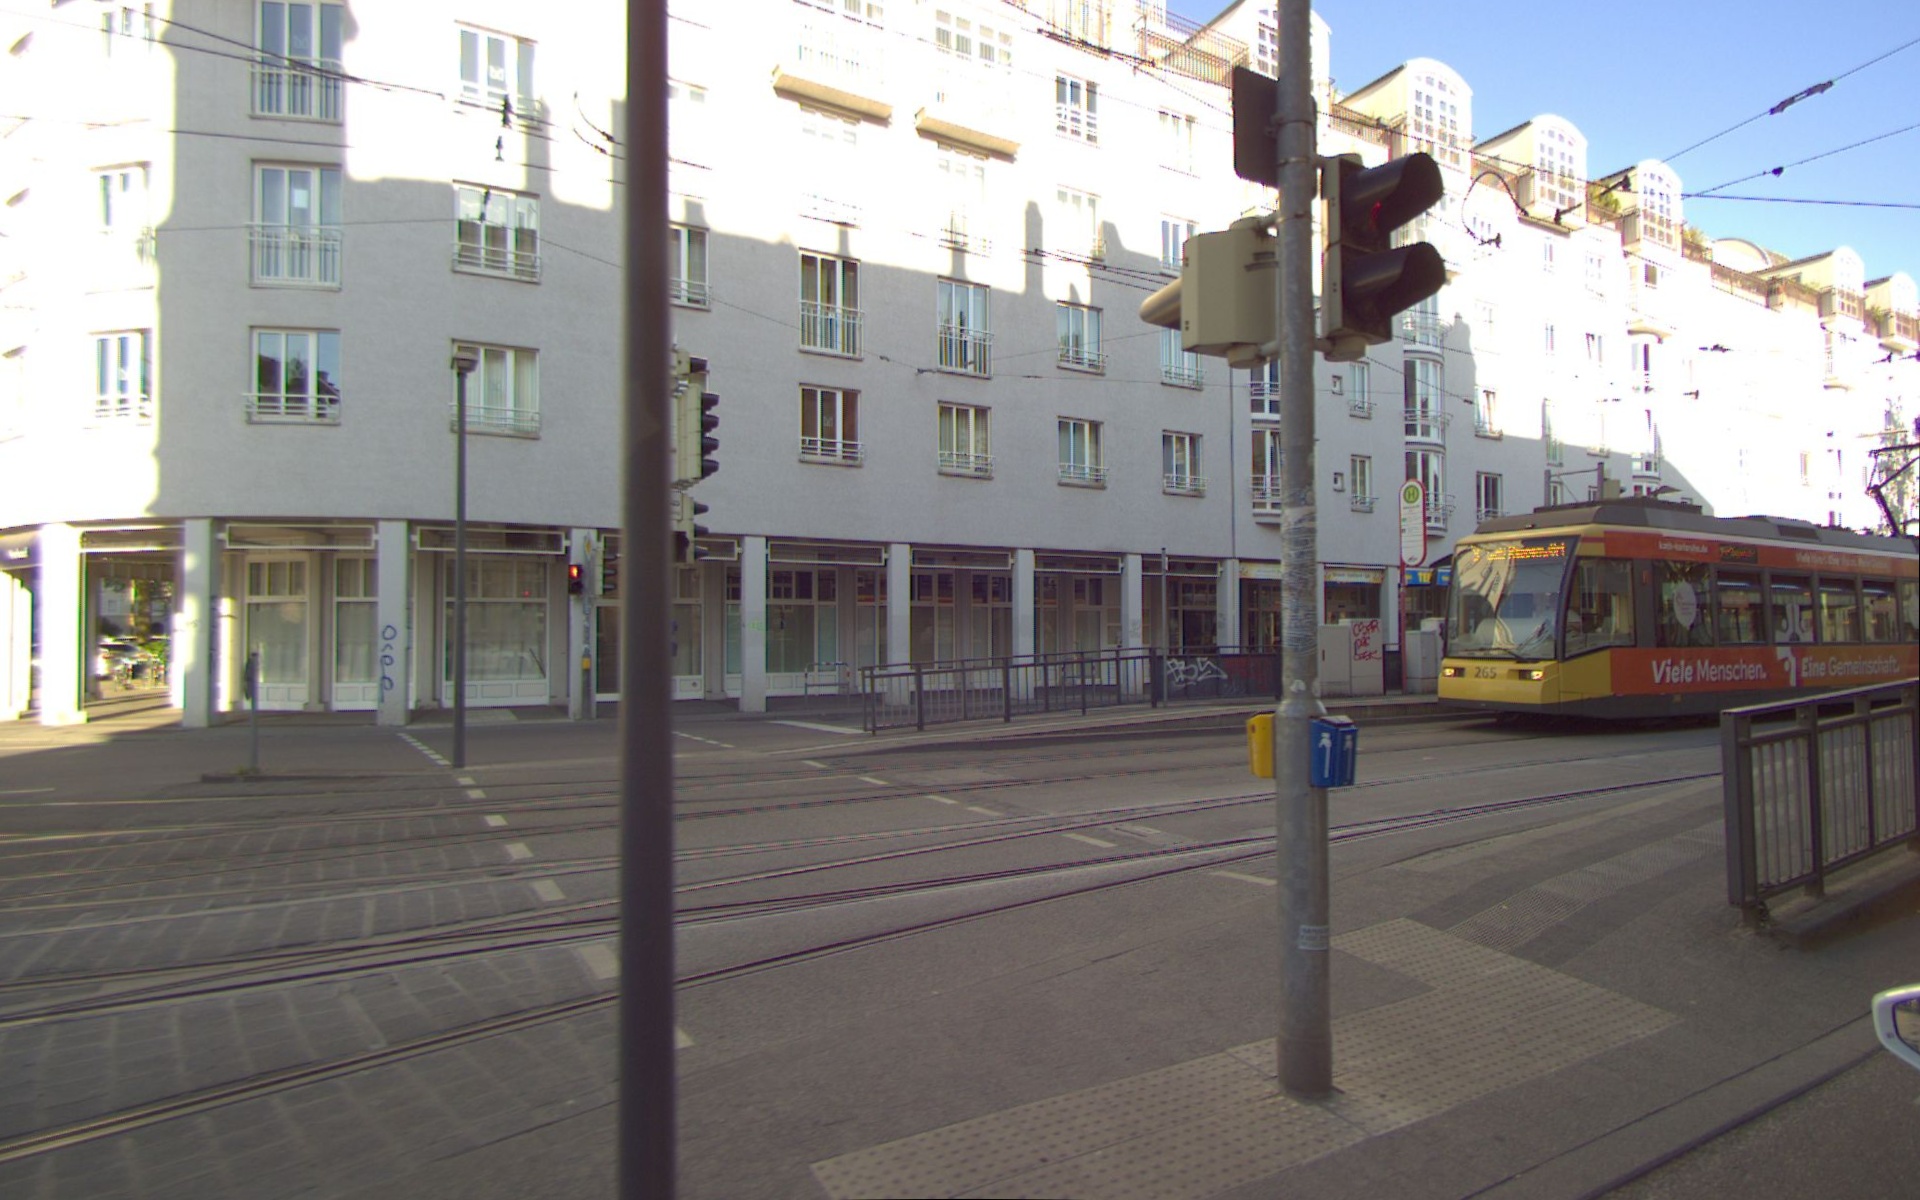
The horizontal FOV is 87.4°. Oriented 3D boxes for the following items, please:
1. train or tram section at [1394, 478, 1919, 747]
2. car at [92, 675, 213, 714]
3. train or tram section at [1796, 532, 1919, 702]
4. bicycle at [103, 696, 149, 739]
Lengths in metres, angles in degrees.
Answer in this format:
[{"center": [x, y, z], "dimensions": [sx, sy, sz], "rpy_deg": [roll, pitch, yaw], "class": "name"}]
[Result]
[{"center": [13.550, 0.304, 17.942], "dimensions": [13.999, 3.536, 2.872], "rpy_deg": [1, -2, -30], "class": "train or tram section"}, {"center": [-36.332, 4.230, 45.345], "dimensions": [3.949, 1.530, 1.788], "rpy_deg": [0, -3, -27], "class": "car"}, {"center": [26.092, 0.465, 24.979], "dimensions": [14.765, 3.536, 2.874], "rpy_deg": [1, -2, -29], "class": "train or tram section"}, {"center": [-24.838, 3.478, 29.913], "dimensions": [0.931, 1.122, 2.414], "rpy_deg": [1, -4, -43], "class": "bicycle"}]
